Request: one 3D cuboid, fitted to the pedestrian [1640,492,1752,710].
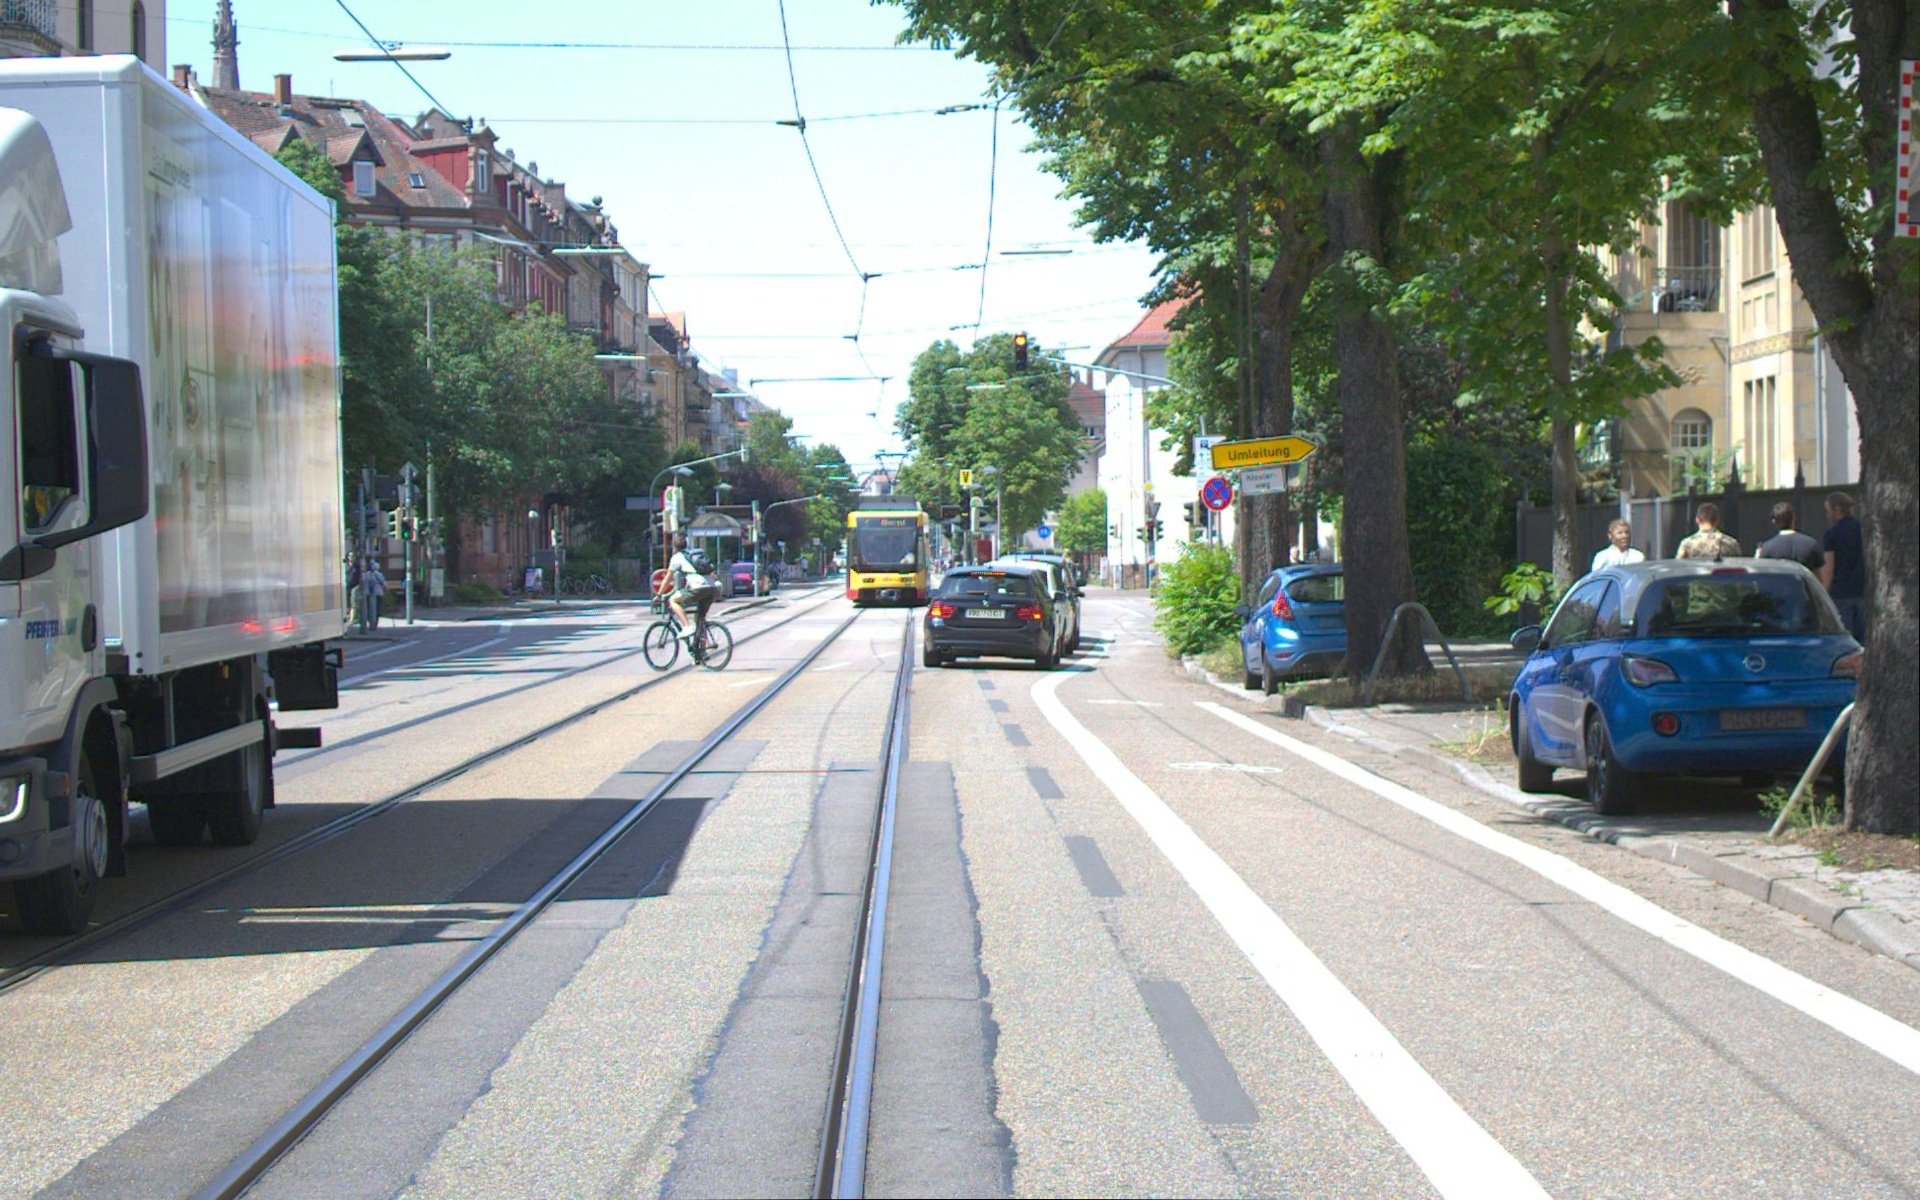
[{"bbox_3d":[6.121,0.002,28.631,0.704,1.770,0.947,-1,1,-1],"label":"pedestrian"}]

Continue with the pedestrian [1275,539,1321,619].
[{"bbox_3d":[7.072,-0.438,71.928,0.857,1.640,0.836,-1,0,-1],"label":"pedestrian"}]

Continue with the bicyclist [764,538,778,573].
[{"bbox_3d":[-10.110,-2.398,183.916,0.722,1.864,0.825,-1,1,1],"label":"bicyclist"}]

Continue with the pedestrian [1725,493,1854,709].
[{"bbox_3d":[6.903,0.000,28.652,0.787,1.755,1.052,-1,1,-1],"label":"pedestrian"}]

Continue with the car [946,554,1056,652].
[{"bbox_3d":[0.684,0.026,54.863,1.685,1.479,3.684,-1,1,2],"label":"car"}]

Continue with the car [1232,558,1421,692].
[{"bbox_3d":[4.165,0.248,39.546,1.677,1.438,3.721,-1,1,-1],"label":"car"}]

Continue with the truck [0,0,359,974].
[{"bbox_3d":[-4.808,-0.507,16.367,2.785,3.607,8.257,-1,1,-3],"label":"truck"}]

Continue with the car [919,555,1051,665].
[{"bbox_3d":[0.382,0.104,47.971,1.722,1.404,4.565,2,1,1],"label":"car"}]

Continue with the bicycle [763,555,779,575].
[{"bbox_3d":[-10.101,-1.871,183.849,0.729,1.098,1.715,-1,1,2],"label":"bicycle"}]

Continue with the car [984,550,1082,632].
[{"bbox_3d":[1.445,-0.189,66.851,1.691,1.508,3.821,1,1,4],"label":"car"}]

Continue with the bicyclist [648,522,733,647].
[{"bbox_3d":[-3.626,-0.212,46.315,0.830,1.657,0.757,1,0,38],"label":"bicyclist"}]

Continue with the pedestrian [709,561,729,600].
[{"bbox_3d":[-7.878,-0.636,112.205,0.613,1.238,0.628,-1,0,-6],"label":"pedestrian"}]

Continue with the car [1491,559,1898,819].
[{"bbox_3d":[4.448,0.487,21.304,1.691,1.448,3.474,-1,1,-1],"label":"car"}]

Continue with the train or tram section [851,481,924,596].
[{"bbox_3d":[-2.287,-1.951,109.644,2.190,3.470,8.846,-1,1,-1],"label":"train or tram section"}]

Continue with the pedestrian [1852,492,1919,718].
[{"bbox_3d":[7.698,0.028,27.739,0.684,1.791,1.084,-1,1,-1],"label":"pedestrian"}]

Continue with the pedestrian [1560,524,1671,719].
[{"bbox_3d":[5.661,0.177,29.750,0.766,1.645,0.974,-1,1,1],"label":"pedestrian"}]

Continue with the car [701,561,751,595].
[{"bbox_3d":[-10.061,-0.957,148.016,1.823,1.408,4.429,-1,1,0],"label":"car"}]

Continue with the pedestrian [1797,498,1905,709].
[{"bbox_3d":[7.763,0.023,29.969,0.660,1.805,0.977,-1,1,-1],"label":"pedestrian"}]

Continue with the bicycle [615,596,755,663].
[{"bbox_3d":[-3.717,0.392,46.372,1.818,0.815,0.753,3,2,36],"label":"bicycle"}]
